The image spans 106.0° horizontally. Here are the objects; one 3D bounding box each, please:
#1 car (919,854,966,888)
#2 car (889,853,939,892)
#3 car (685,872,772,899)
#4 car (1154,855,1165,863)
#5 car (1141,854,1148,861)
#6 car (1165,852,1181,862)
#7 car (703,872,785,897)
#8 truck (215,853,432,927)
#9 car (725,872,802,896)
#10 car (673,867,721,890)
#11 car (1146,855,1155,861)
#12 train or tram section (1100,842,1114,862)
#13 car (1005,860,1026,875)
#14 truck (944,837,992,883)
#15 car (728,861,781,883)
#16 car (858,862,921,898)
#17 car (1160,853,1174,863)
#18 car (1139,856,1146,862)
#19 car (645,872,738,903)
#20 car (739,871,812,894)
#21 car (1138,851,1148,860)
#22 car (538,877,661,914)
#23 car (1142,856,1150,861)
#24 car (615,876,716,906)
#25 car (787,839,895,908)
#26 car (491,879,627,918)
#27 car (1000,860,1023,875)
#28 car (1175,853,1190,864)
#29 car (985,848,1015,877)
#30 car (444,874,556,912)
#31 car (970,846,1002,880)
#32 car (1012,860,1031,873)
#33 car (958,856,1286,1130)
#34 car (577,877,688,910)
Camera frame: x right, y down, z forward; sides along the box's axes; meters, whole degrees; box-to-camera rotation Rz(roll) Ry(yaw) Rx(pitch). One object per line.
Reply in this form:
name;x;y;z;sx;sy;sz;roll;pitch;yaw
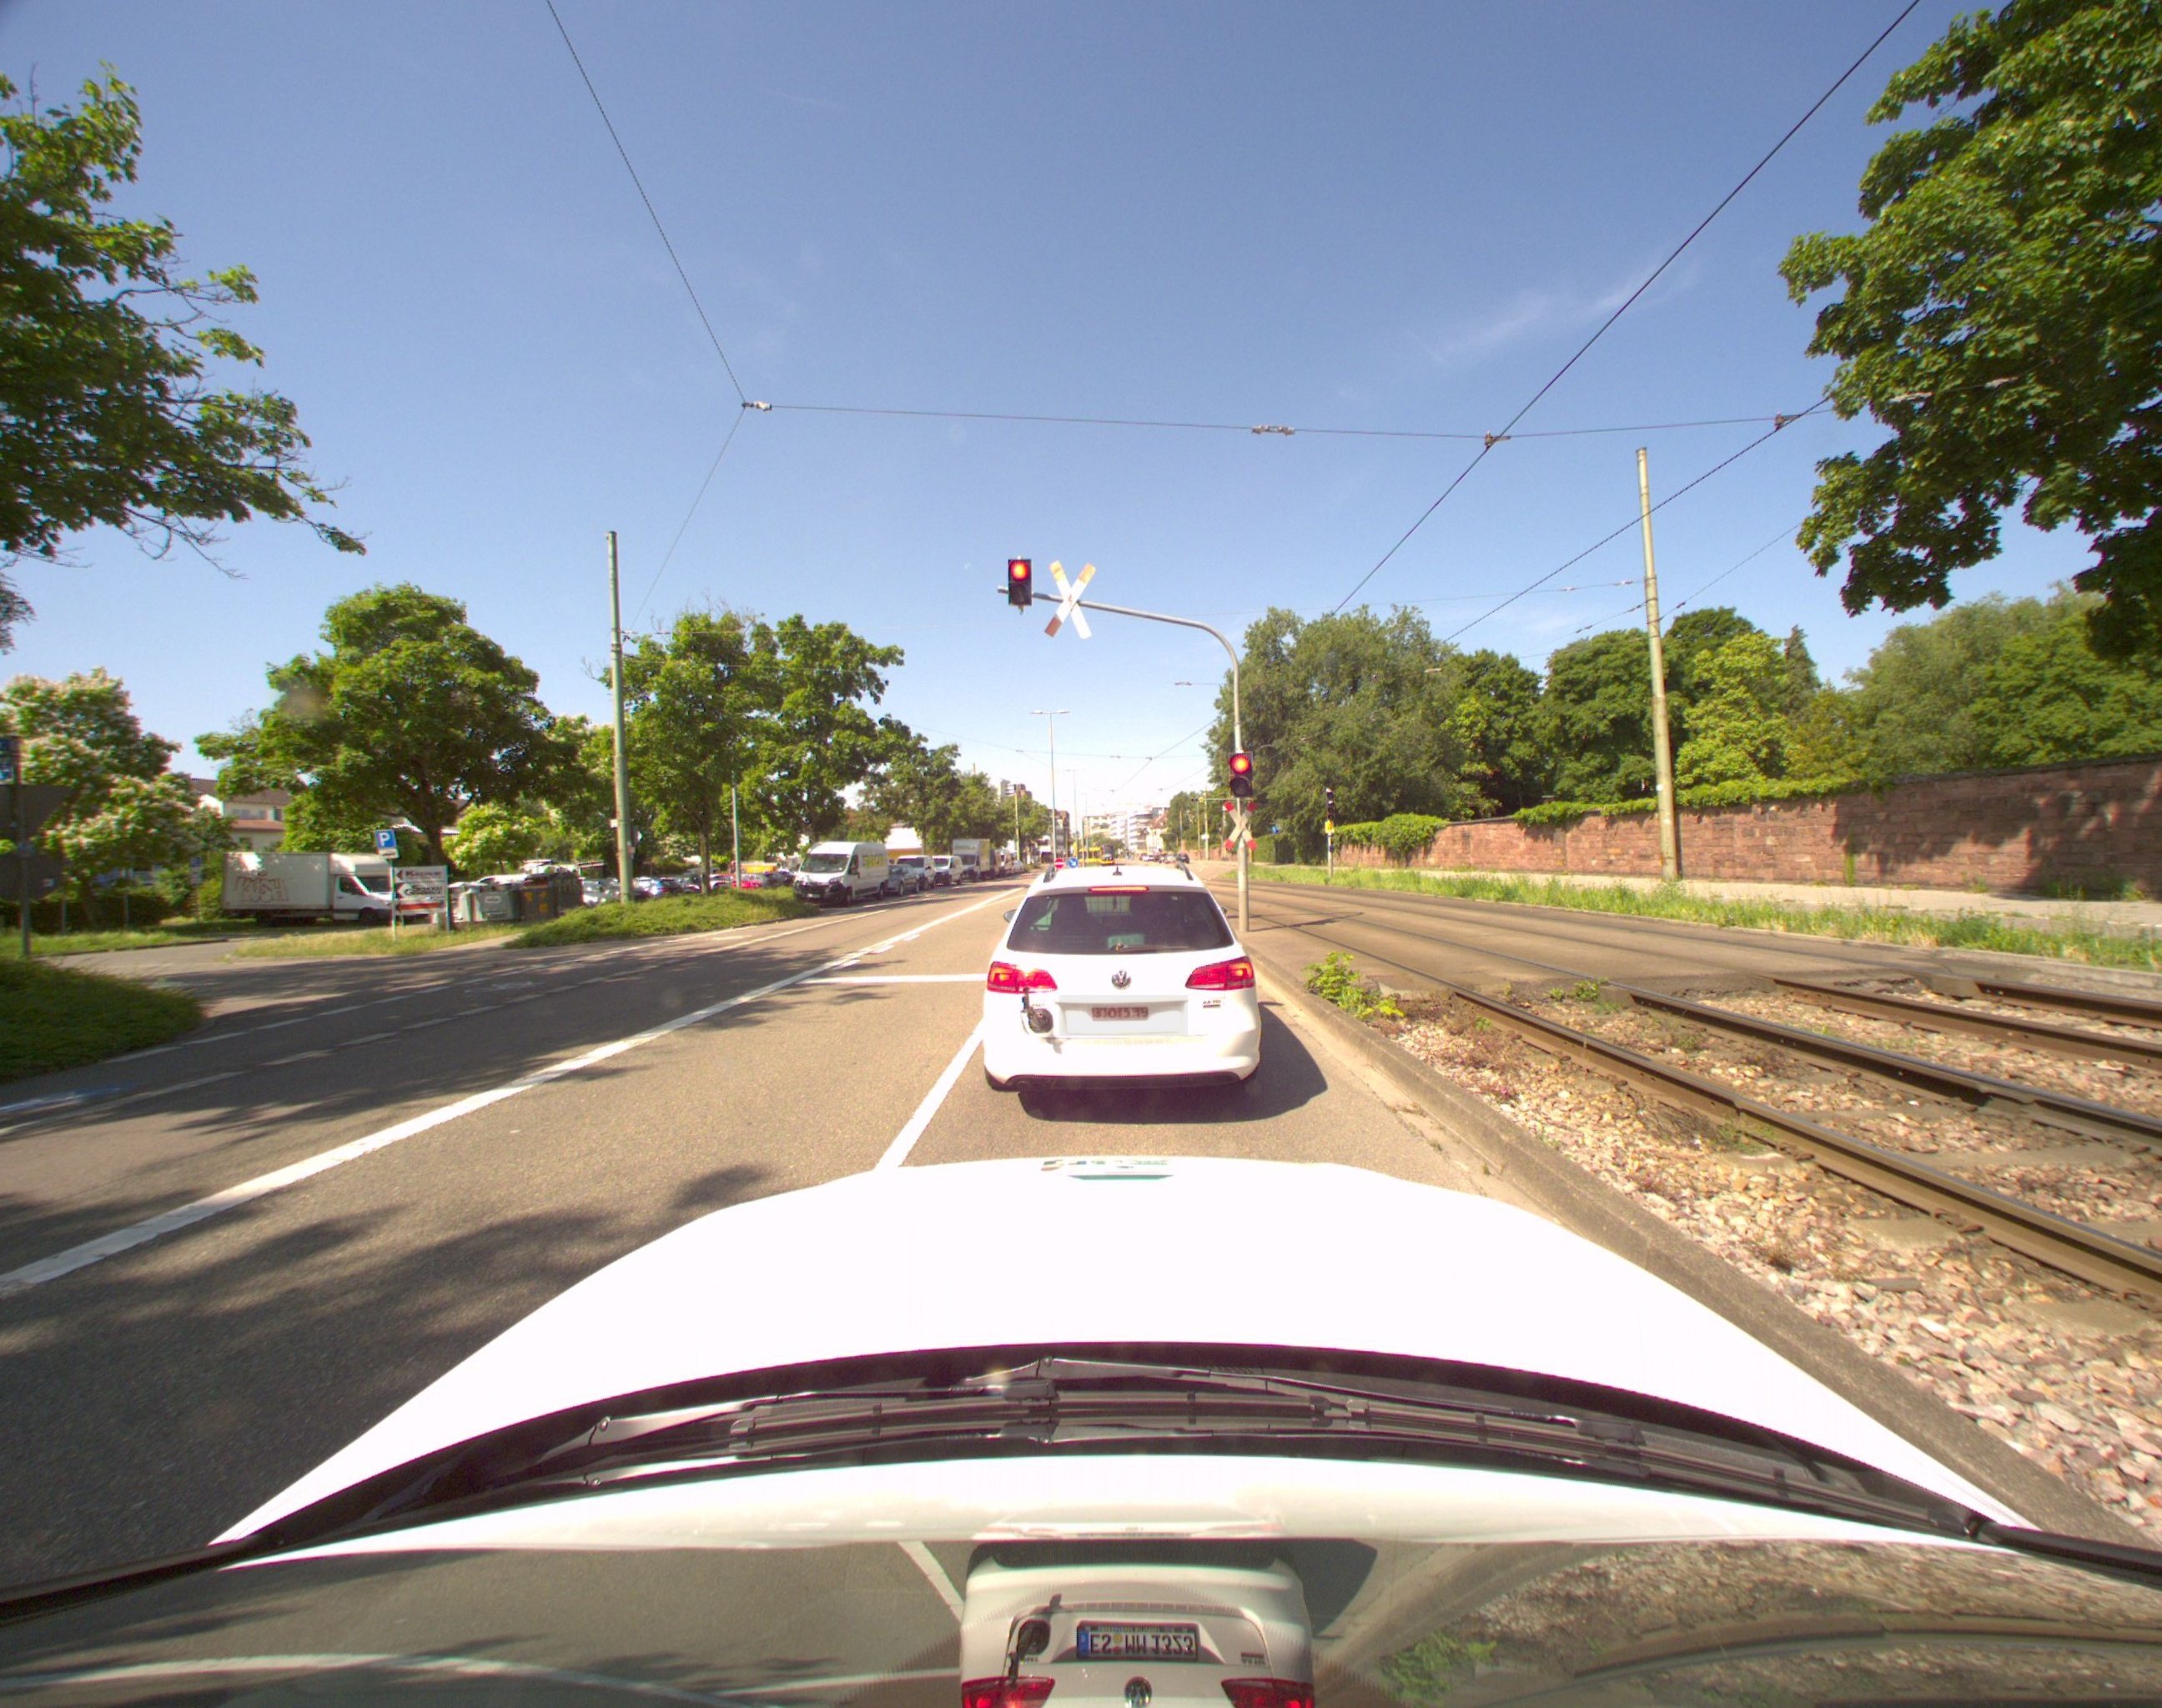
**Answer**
car;-8.815;1.026;52.273;1.836;1.960;5.137;-3;0;2
car;-9.271;0.981;45.675;1.839;1.937;5.189;-3;0;-2
car;-19.406;1.731;44.925;3.969;1.264;1.773;-3;0;4
car;14.542;0.893;150.816;1.740;1.407;3.912;0;0;-1
car;15.983;0.839;204.524;1.685;1.812;3.455;0;-1;1
car;13.424;0.463;119.005;1.855;1.416;4.325;0;0;0
car;-19.641;1.785;47.527;3.969;1.225;1.773;-3;0;4
truck;-32.443;1.501;35.029;7.119;3.019;2.231;0;0;-1
car;-19.506;1.823;50.121;3.969;1.225;1.773;-3;0;4
car;-34.344;2.182;72.916;3.412;1.876;1.552;-3;0;-1
car;14.718;0.818;172.965;1.576;1.346;3.455;0;-1;1
train or tram section;4.508;-0.217;139.738;2.292;3.253;11.279;0;-1;2
car;-7.380;1.500;91.726;1.837;1.433;4.039;-3;0;2
truck;-8.314;0.398;60.749;2.348;3.122;6.892;-3;0;1
car;-31.228;1.691;77.942;4.249;2.014;1.997;0;-1;-5
car;-9.067;1.197;38.991;1.837;1.516;4.199;-3;0;2
car;14.155;0.660;134.530;1.855;1.513;3.913;0;0;0
car;18.282;1.532;241.456;1.986;1.596;4.002;0;-1;2
car;-20.284;1.730;42.527;3.969;1.350;1.773;-3;0;4
car;-19.632;1.848;52.449;3.969;1.225;1.773;-3;0;4
car;17.136;0.506;225.426;2.454;2.499;5.912;0;-1;1
car;-19.898;1.699;33.786;3.974;1.225;1.771;-3;0;0
car;15.320;1.050;192.019;1.576;1.346;3.455;0;-1;1
car;-20.275;1.803;39.843;3.969;1.225;1.773;-3;0;4
car;-9.505;0.699;32.912;2.049;2.501;6.315;0;0;4
car;-19.995;1.698;31.306;3.974;1.225;1.771;-3;0;0
car;-7.300;1.416;85.803;1.837;1.433;4.039;-3;0;2
car;13.239;0.634;106.451;1.738;1.388;3.917;-1;0;4
car;-7.556;0.738;76.222;1.836;2.494;5.860;-3;0;2
car;-32.199;2.134;45.232;4.683;2.014;1.997;0;-1;-4
car;-7.945;0.755;68.521;1.836;2.668;5.006;-3;0;2
car;-7.117;1.483;96.949;1.774;1.433;4.039;-3;0;2
car;0.255;0.756;6.345;1.762;1.446;3.913;0;0;1
car;-20.092;1.751;36.611;3.969;1.225;1.773;-3;0;4
